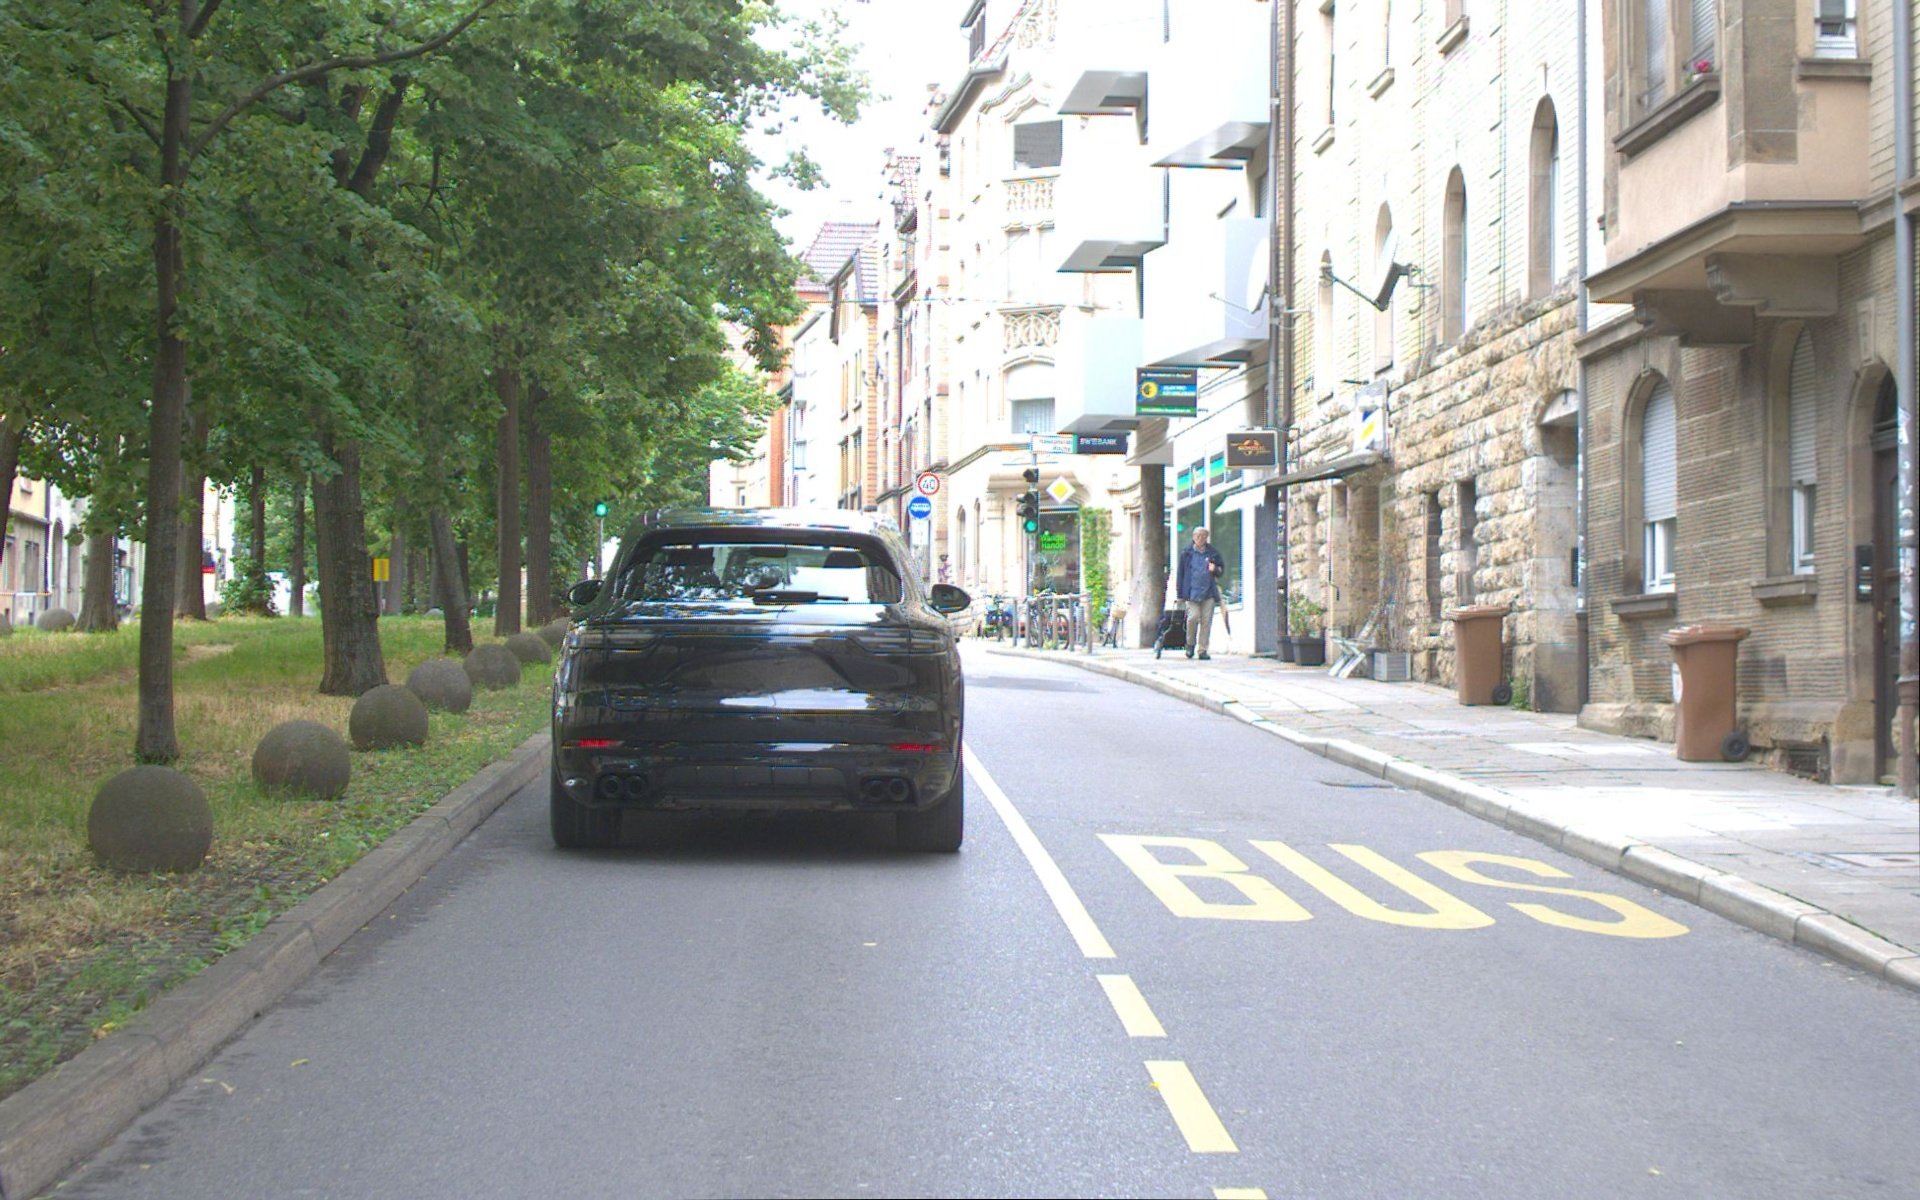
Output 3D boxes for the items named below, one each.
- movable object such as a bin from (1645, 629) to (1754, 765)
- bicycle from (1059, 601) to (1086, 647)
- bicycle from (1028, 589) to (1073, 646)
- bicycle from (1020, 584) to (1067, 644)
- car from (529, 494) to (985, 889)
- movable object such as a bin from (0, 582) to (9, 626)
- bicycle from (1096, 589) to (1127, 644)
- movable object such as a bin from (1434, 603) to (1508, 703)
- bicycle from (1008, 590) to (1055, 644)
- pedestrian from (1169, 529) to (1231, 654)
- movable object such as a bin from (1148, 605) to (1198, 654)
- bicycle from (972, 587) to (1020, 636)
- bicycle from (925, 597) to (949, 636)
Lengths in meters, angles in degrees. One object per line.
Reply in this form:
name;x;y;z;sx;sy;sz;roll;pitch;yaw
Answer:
movable object such as a bin;5.081;0.664;23.655;0.594;0.901;0.563;1;0;-2
bicycle;2.679;0.557;81.814;0.349;1.055;1.834;4;0;-6
bicycle;1.520;0.303;57.906;0.569;0.928;1.775;1;-1;-4
bicycle;1.485;0.254;61.250;0.286;1.051;1.761;2;-1;-17
car;-0.987;0.357;17.541;1.993;1.660;4.001;2;2;-2
movable object such as a bin;-23.737;0.097;84.280;0.691;1.056;0.690;1;-2;-9
bicycle;3.589;0.388;81.548;0.446;1.157;1.835;0;5;-6
movable object such as a bin;4.785;0.501;32.206;0.594;0.901;0.503;1;-3;-2
bicycle;1.271;0.307;60.968;0.286;0.928;1.761;2;-1;-17
pedestrian;3.265;-0.107;46.850;0.751;1.687;0.858;0;-1;-2
movable object such as a bin;2.950;0.415;47.690;0.607;0.666;0.858;0;-1;-2
bicycle;0.853;0.287;83.492;0.879;1.125;2.979;1;-1;-4
bicycle;-0.636;0.469;94.550;0.446;1.033;2.249;0;-1;-6
